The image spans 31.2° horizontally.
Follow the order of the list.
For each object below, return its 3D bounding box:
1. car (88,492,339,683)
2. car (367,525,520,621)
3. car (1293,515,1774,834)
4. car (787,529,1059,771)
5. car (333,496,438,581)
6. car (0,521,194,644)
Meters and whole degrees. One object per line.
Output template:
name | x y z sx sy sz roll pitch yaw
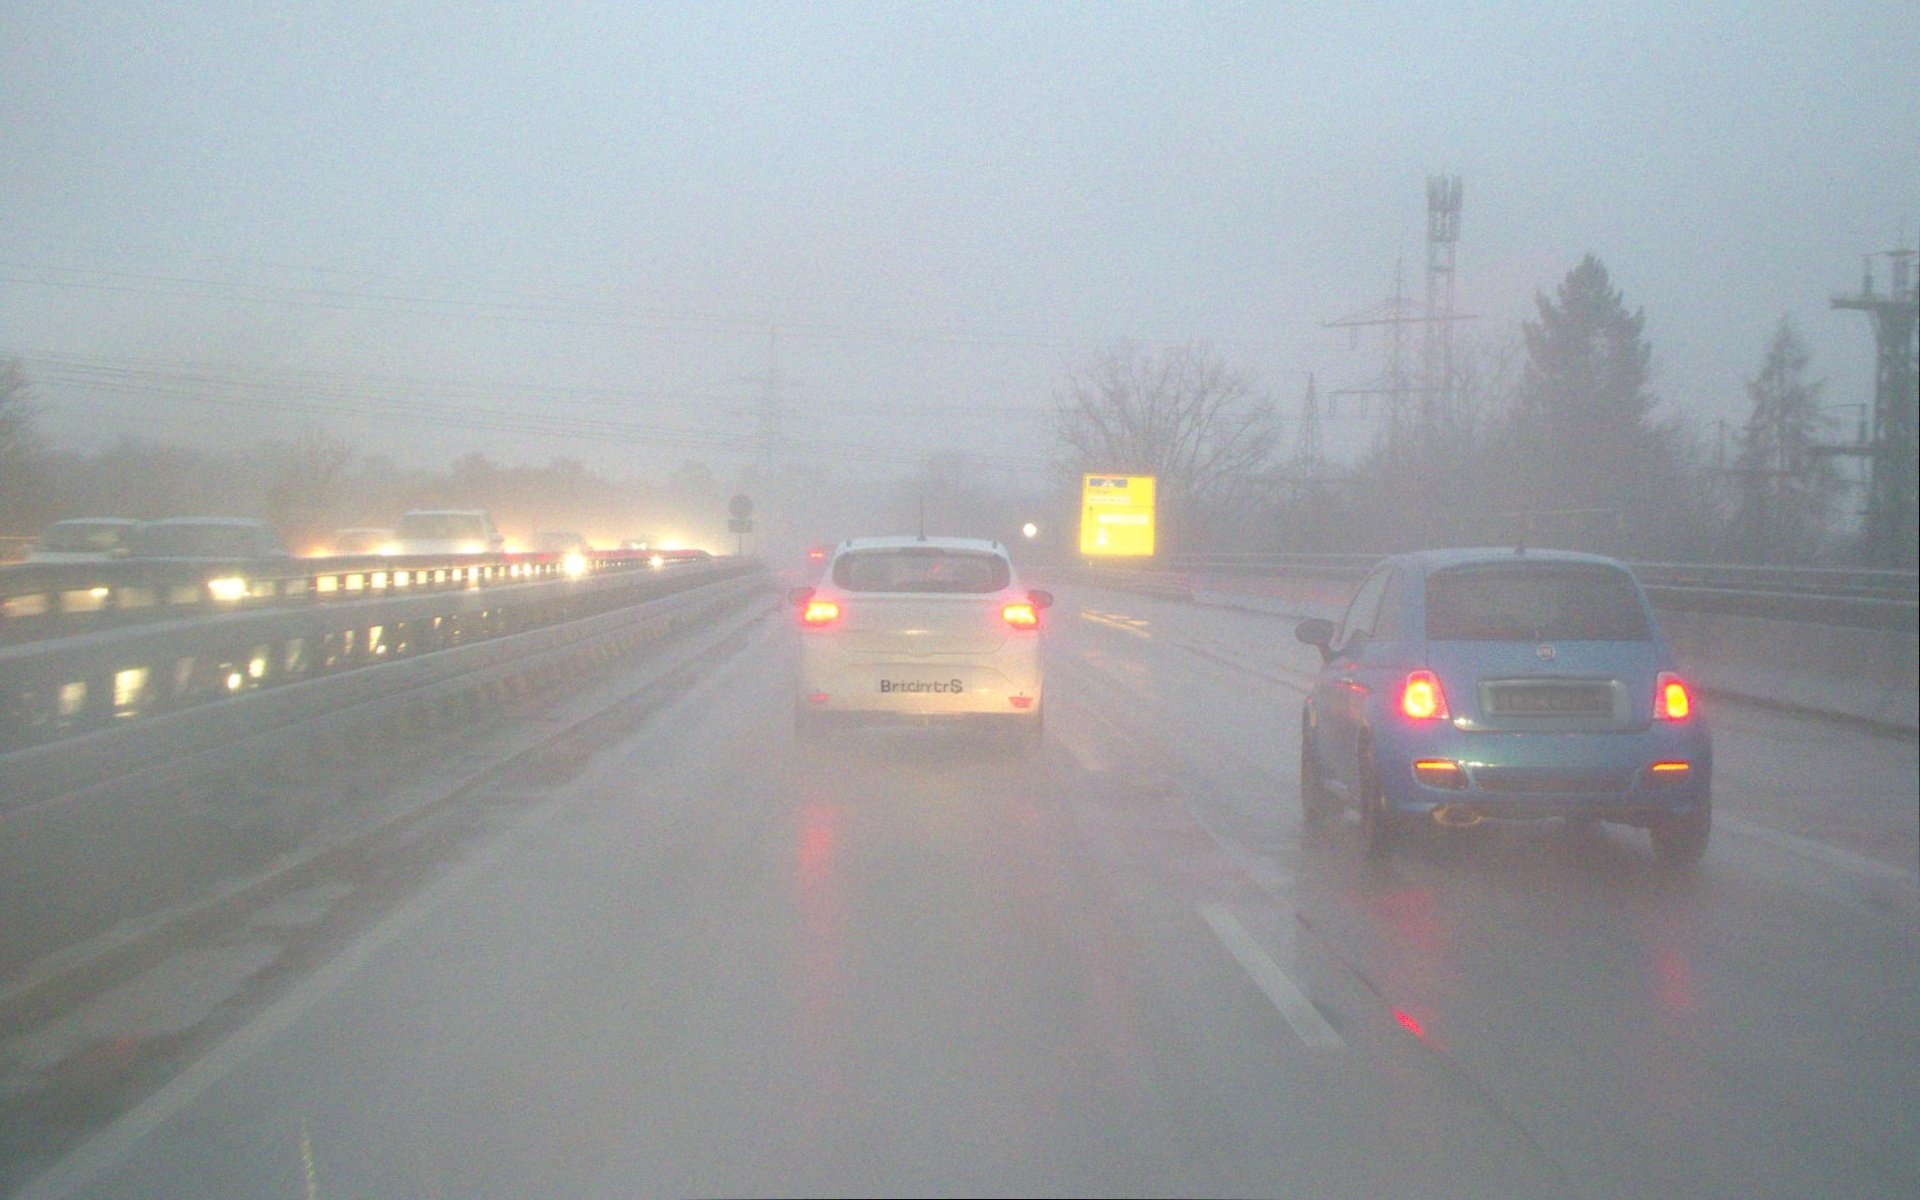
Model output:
car | -8.571 -0.191 39.836 1.964 2.046 4.374 1 1 -1
car | -8.711 -0.487 58.275 1.964 1.497 4.374 1 1 -1
car | 2.898 0.301 18.259 1.845 1.448 4.149 1 2 0
car | -0.306 0.305 25.497 1.845 1.630 3.768 1 1 -2
car | -12.740 -1.381 76.424 1.742 1.809 4.001 1 2 -1
car | -11.834 -0.276 47.236 1.855 1.560 3.923 1 2 -2
